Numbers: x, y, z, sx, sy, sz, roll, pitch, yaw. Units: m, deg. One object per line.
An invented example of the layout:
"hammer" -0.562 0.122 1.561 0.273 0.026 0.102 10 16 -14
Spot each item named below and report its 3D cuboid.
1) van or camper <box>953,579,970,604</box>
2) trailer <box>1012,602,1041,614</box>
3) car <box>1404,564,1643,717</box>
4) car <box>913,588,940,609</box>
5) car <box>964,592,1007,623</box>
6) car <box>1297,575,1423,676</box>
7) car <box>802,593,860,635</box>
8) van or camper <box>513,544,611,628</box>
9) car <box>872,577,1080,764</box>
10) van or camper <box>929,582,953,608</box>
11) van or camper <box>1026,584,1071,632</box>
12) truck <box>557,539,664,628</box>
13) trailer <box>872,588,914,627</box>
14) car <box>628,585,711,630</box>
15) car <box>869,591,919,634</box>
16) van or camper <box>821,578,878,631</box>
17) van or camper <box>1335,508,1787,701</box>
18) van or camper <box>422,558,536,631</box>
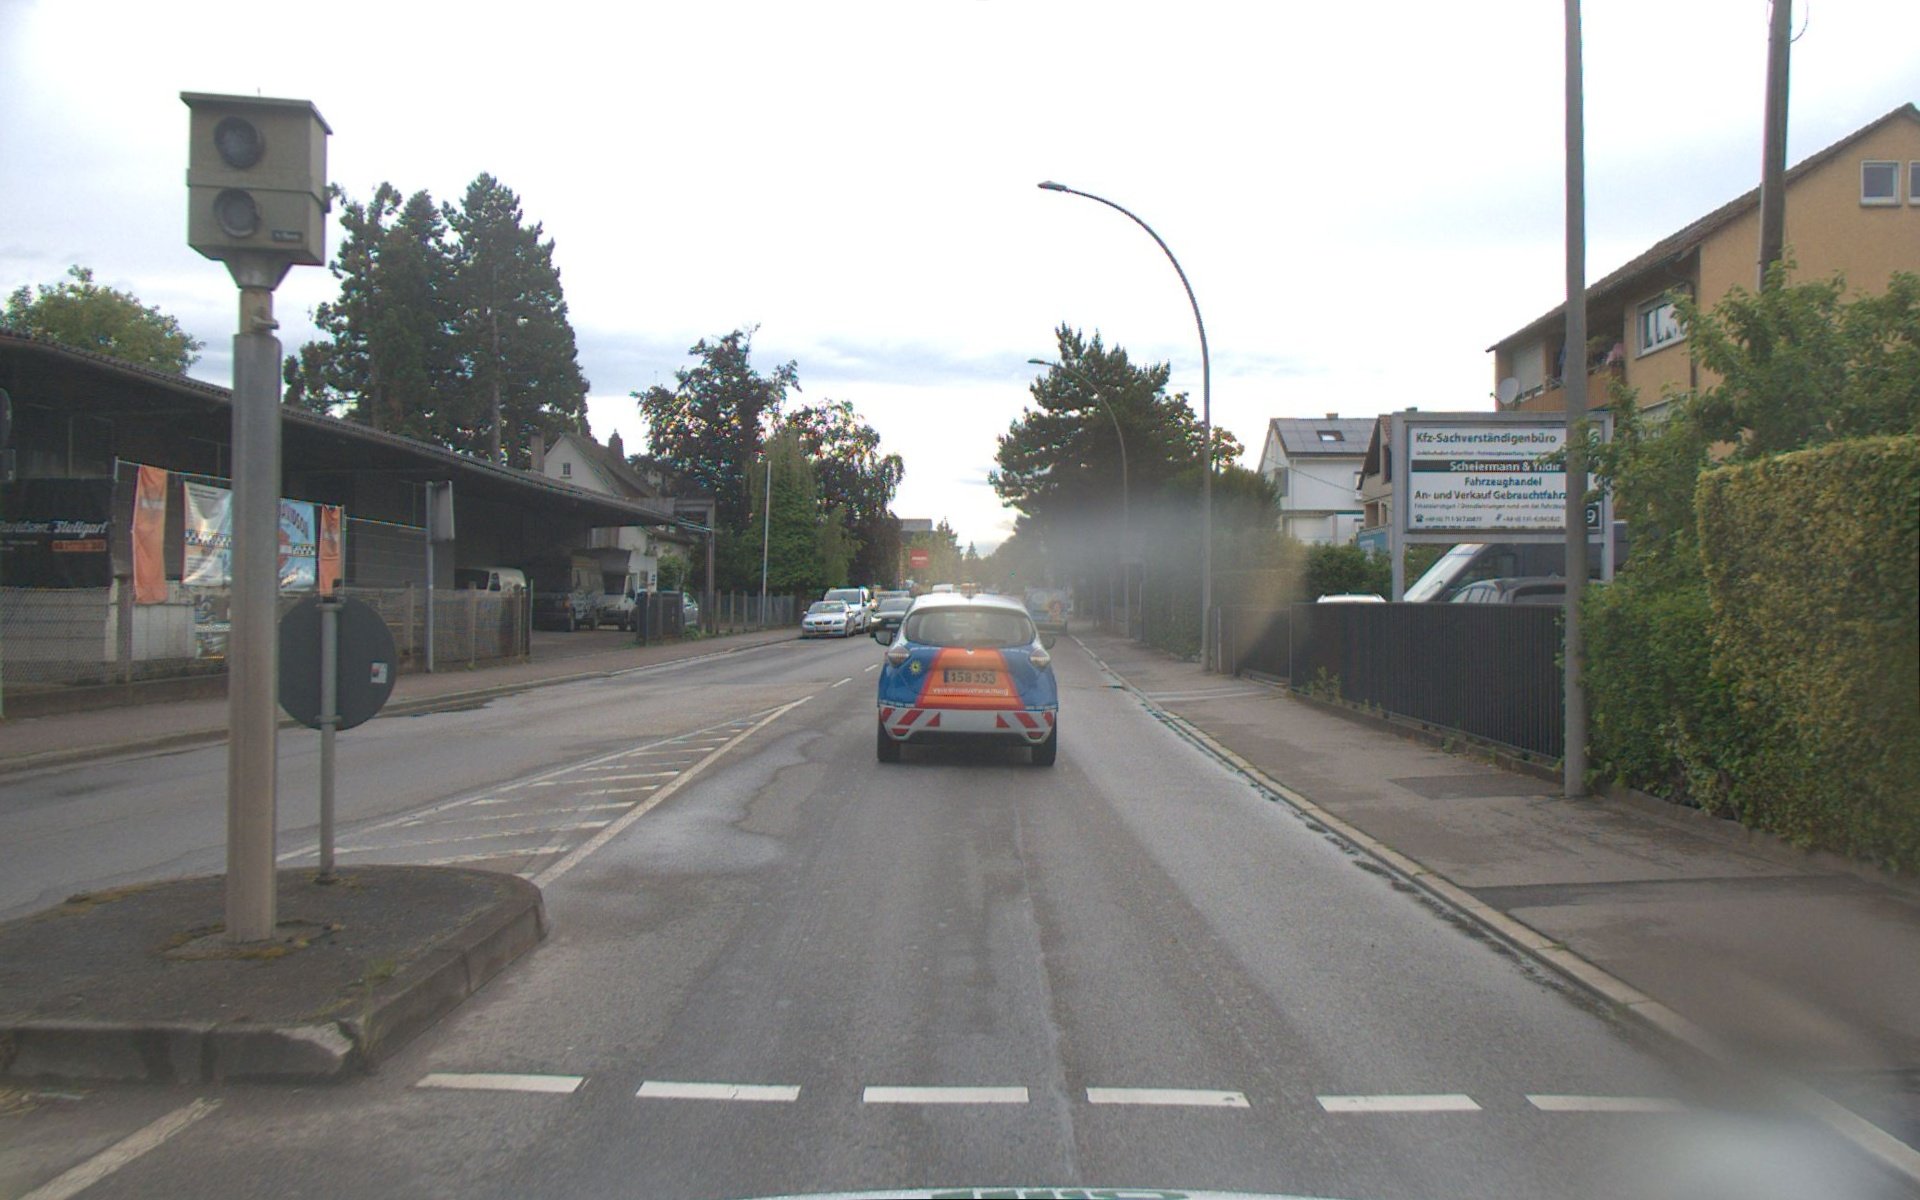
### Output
"van or camper" 0.209 -1.009 192.401 1.952 2.823 5.441 0 0 1
"trailer" 4.430 0.529 110.747 1.898 0.767 2.859 0 0 1
"car" 6.743 0.519 20.277 1.627 1.594 4.568 2 -2 4
"car" -2.583 -0.129 128.398 1.952 1.624 4.000 0 0 0
"car" 1.308 0.363 82.455 1.952 1.445 4.002 -1 1 4
"car" 7.556 0.553 31.488 2.076 1.679 5.239 2 -2 13
"car" -4.946 0.565 63.762 1.706 1.506 4.184 -1 -2 2
"van or camper" -13.128 -0.392 54.934 1.821 2.480 5.233 3 -2 0
"car" 0.172 0.619 16.738 1.850 1.660 4.000 0 0 1
"van or camper" -1.732 -0.461 152.109 2.116 2.394 4.334 0 0 1
"van or camper" 3.647 0.303 68.747 1.718 1.916 4.000 0 0 1
"truck" -12.725 -0.528 60.651 2.345 2.978 5.958 3 -1 2
"trailer" -3.939 0.454 97.412 2.175 2.049 4.436 3 -2 0
"car" -10.263 0.292 58.747 1.896 1.469 4.783 1 -1 2
"car" -2.533 0.499 64.212 1.707 1.477 4.541 3 -2 0
"van or camper" -4.661 0.227 70.411 1.851 2.049 5.097 3 -2 1
"van or camper" 8.567 0.089 23.999 5.782 2.529 2.132 2 -2 2
"van or camper" -13.901 -0.141 48.058 1.953 1.942 4.471 3 0 0
